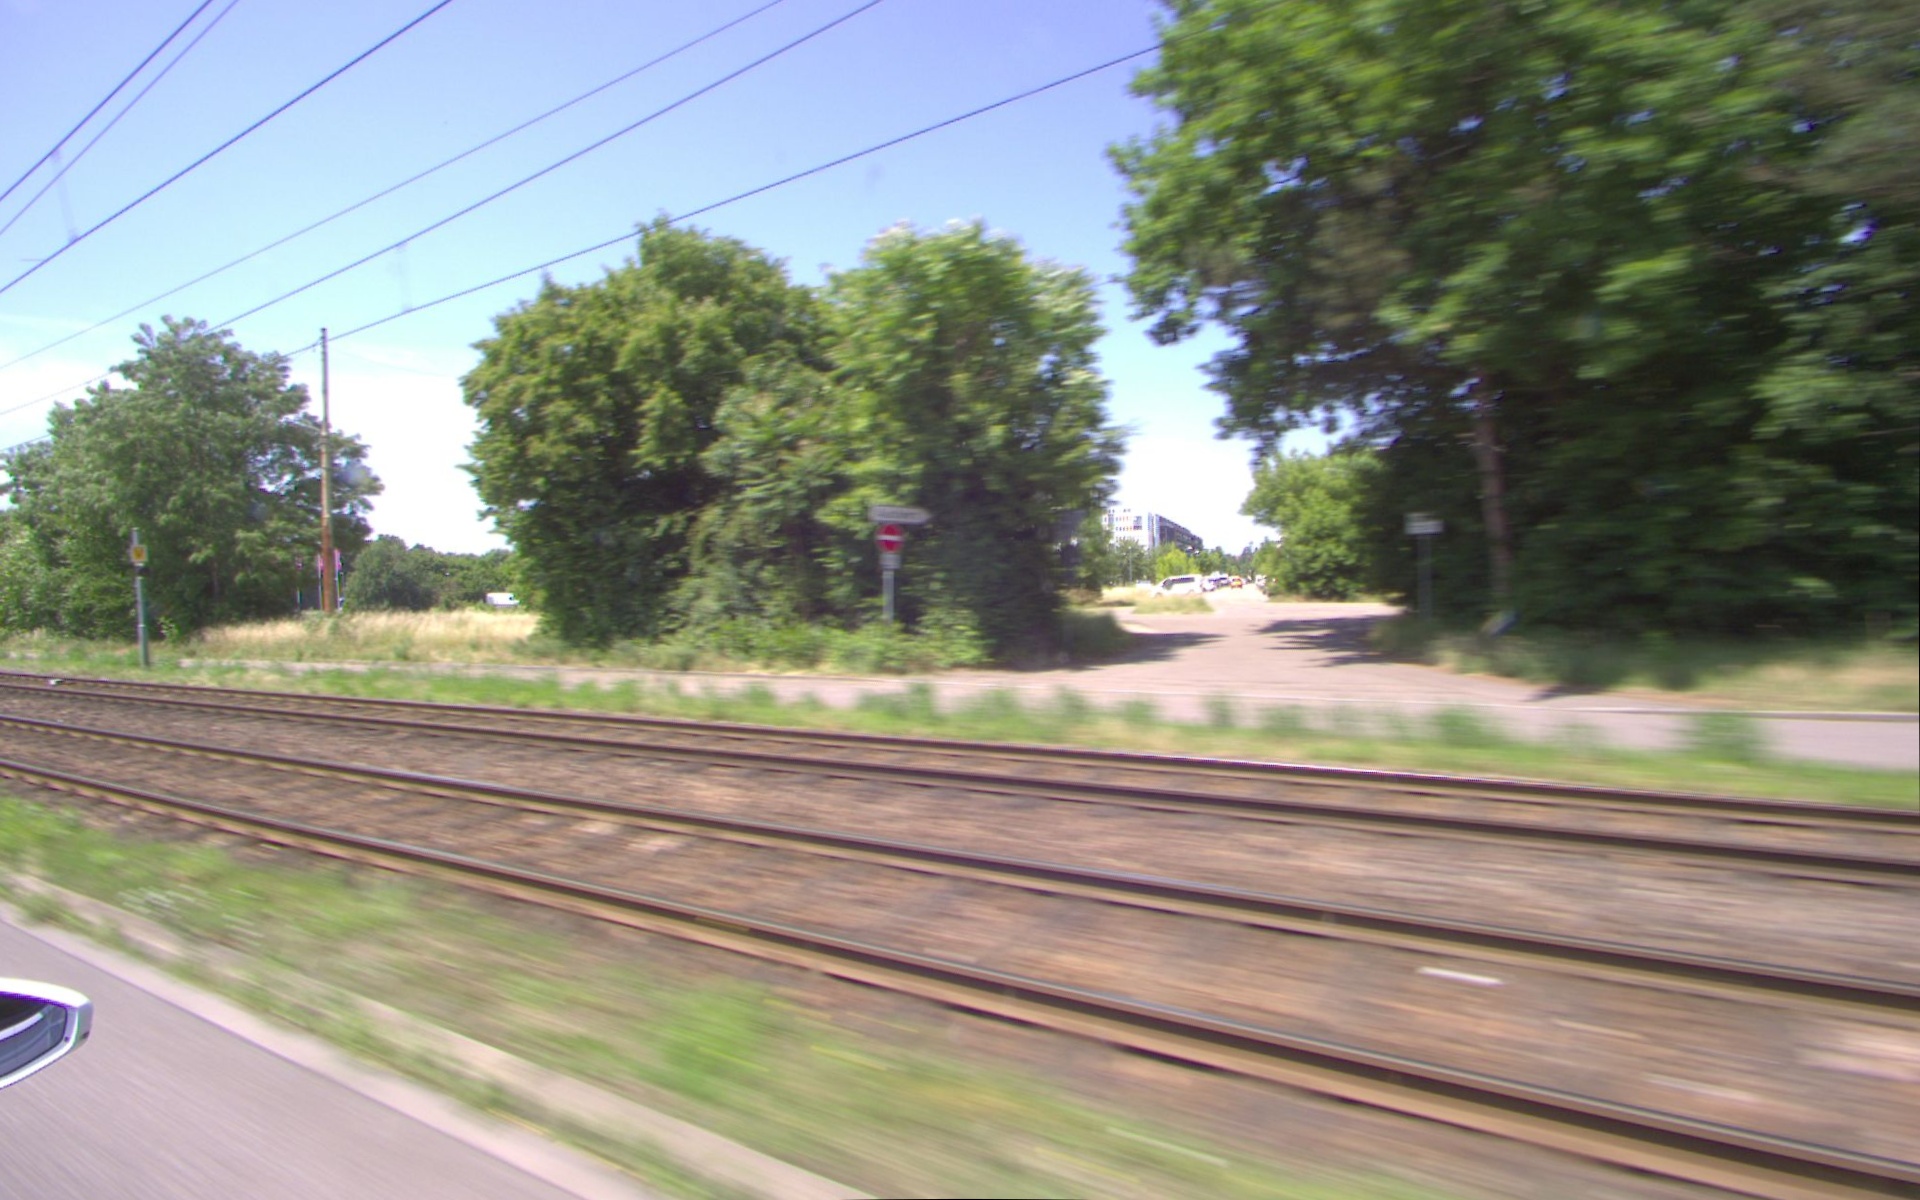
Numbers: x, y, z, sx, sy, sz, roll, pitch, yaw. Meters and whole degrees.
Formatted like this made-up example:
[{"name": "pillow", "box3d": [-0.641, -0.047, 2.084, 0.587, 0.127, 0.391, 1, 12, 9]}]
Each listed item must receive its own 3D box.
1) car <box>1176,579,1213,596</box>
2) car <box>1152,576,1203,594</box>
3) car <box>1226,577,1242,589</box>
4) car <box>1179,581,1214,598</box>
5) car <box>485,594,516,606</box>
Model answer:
[{"name": "car", "box3d": [29.108, -1.538, 124.174, 4.287, 2.040, 1.996, -1, 0, 19]}, {"name": "car", "box3d": [19.642, -1.326, 90.468, 4.287, 1.472, 1.832, -1, 0, 19]}, {"name": "car", "box3d": [44.918, -2.791, 164.178, 1.962, 1.833, 4.363, -1, 0, 9]}, {"name": "car", "box3d": [30.372, -1.358, 128.596, 4.287, 2.040, 1.996, -1, 0, 19]}, {"name": "car", "box3d": [-81.165, 0.056, 177.004, 4.654, 2.039, 2.065, -1, -2, 13]}]
